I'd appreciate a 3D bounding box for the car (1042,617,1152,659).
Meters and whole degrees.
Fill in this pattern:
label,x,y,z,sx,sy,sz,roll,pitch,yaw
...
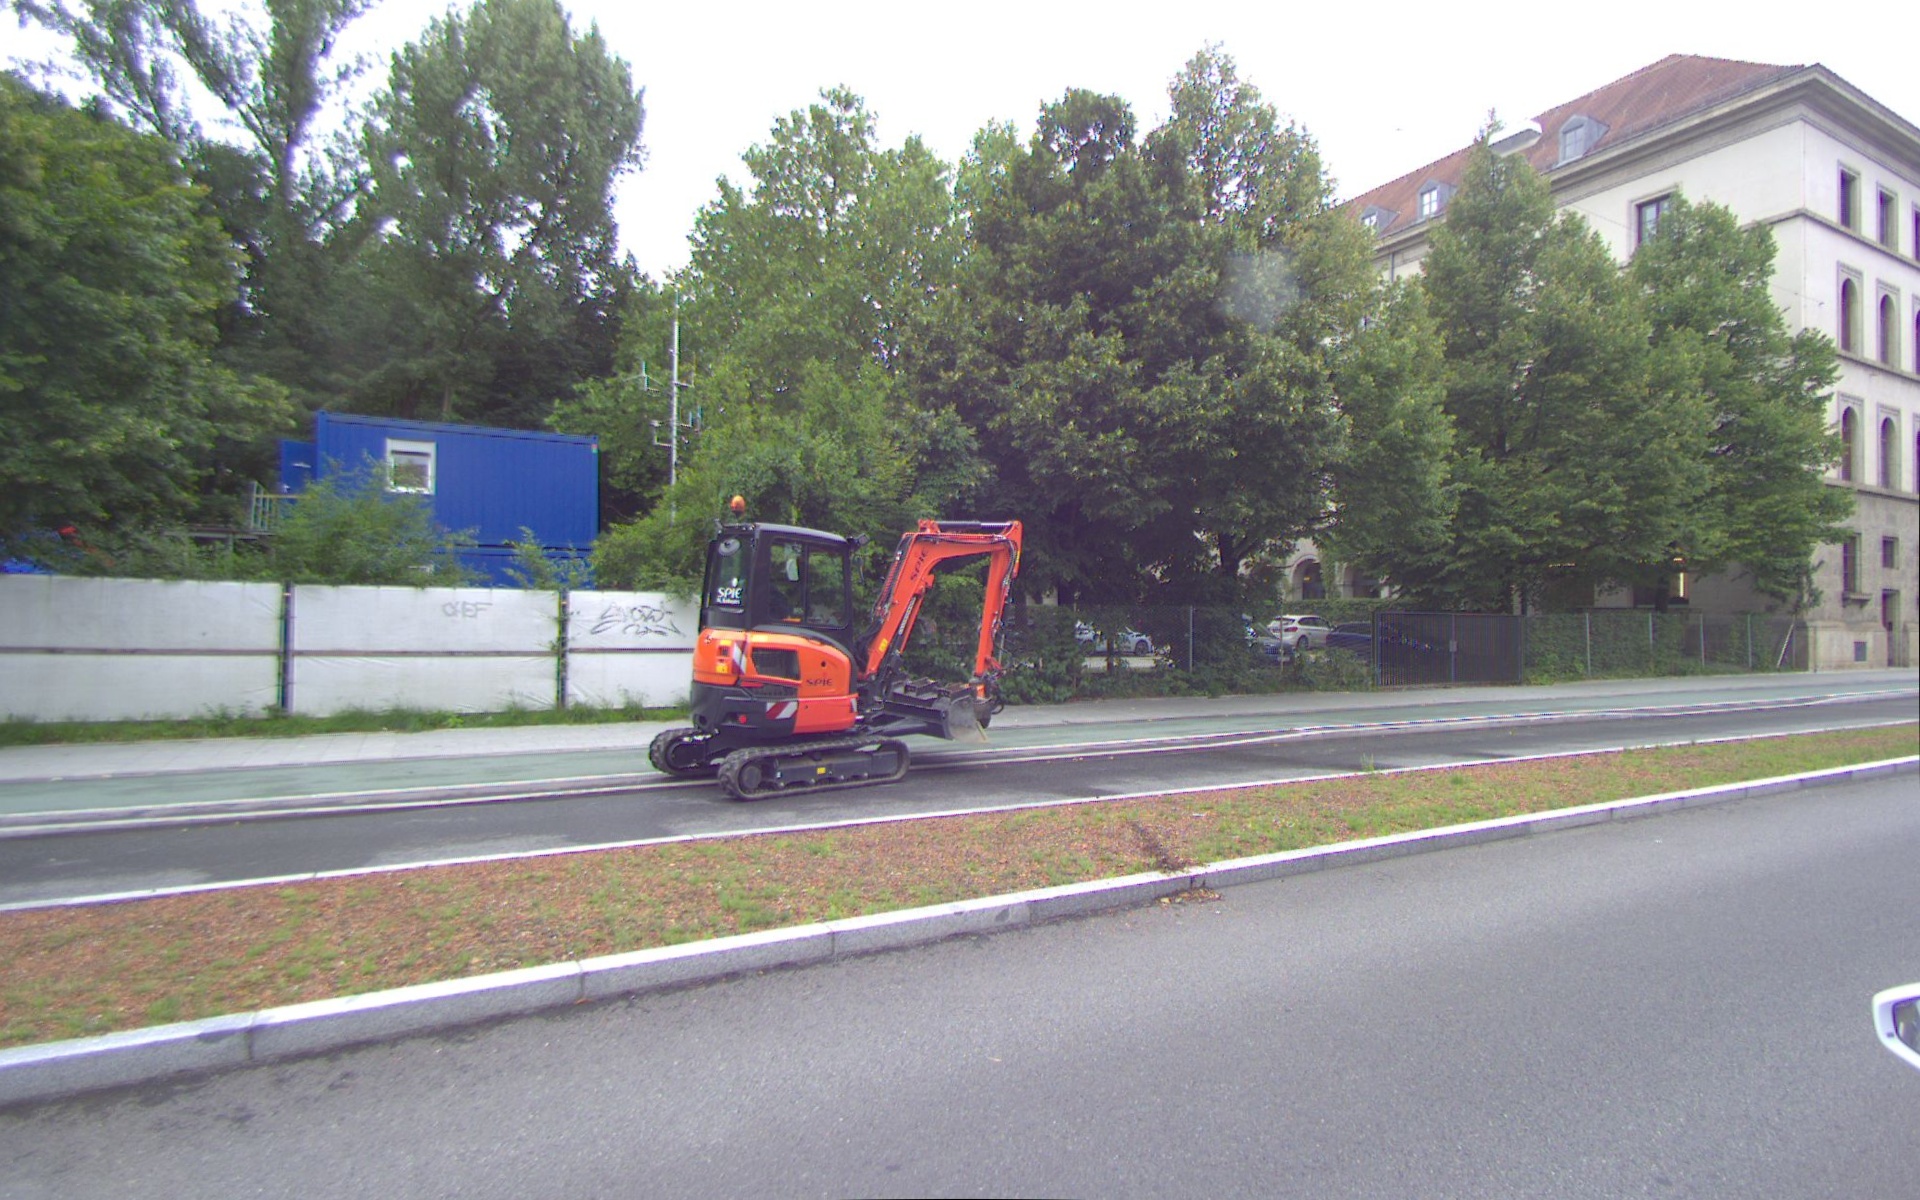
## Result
label,x,y,z,sx,sy,sz,roll,pitch,yaw
car,5.452,1.463,39.851,4.130,1.566,1.821,1,0,-31

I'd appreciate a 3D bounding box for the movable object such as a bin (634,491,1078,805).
label,x,y,z,sx,sy,sz,roll,pitch,yaw
movable object such as a bin,-0.916,0.470,10.943,1.973,2.676,4.636,-1,-2,45

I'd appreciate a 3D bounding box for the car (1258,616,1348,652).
label,x,y,z,sx,sy,sz,roll,pitch,yaw
car,15.557,1.516,45.565,3.895,1.566,1.821,1,0,-31

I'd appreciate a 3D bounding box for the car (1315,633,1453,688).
label,x,y,z,sx,sy,sz,roll,pitch,yaw
car,13.926,1.945,33.187,1.815,1.566,3.908,0,0,-31

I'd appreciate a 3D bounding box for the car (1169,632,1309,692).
label,x,y,z,sx,sy,sz,roll,pitch,yaw
car,8.255,1.780,30.021,1.815,1.566,3.908,0,0,-31
